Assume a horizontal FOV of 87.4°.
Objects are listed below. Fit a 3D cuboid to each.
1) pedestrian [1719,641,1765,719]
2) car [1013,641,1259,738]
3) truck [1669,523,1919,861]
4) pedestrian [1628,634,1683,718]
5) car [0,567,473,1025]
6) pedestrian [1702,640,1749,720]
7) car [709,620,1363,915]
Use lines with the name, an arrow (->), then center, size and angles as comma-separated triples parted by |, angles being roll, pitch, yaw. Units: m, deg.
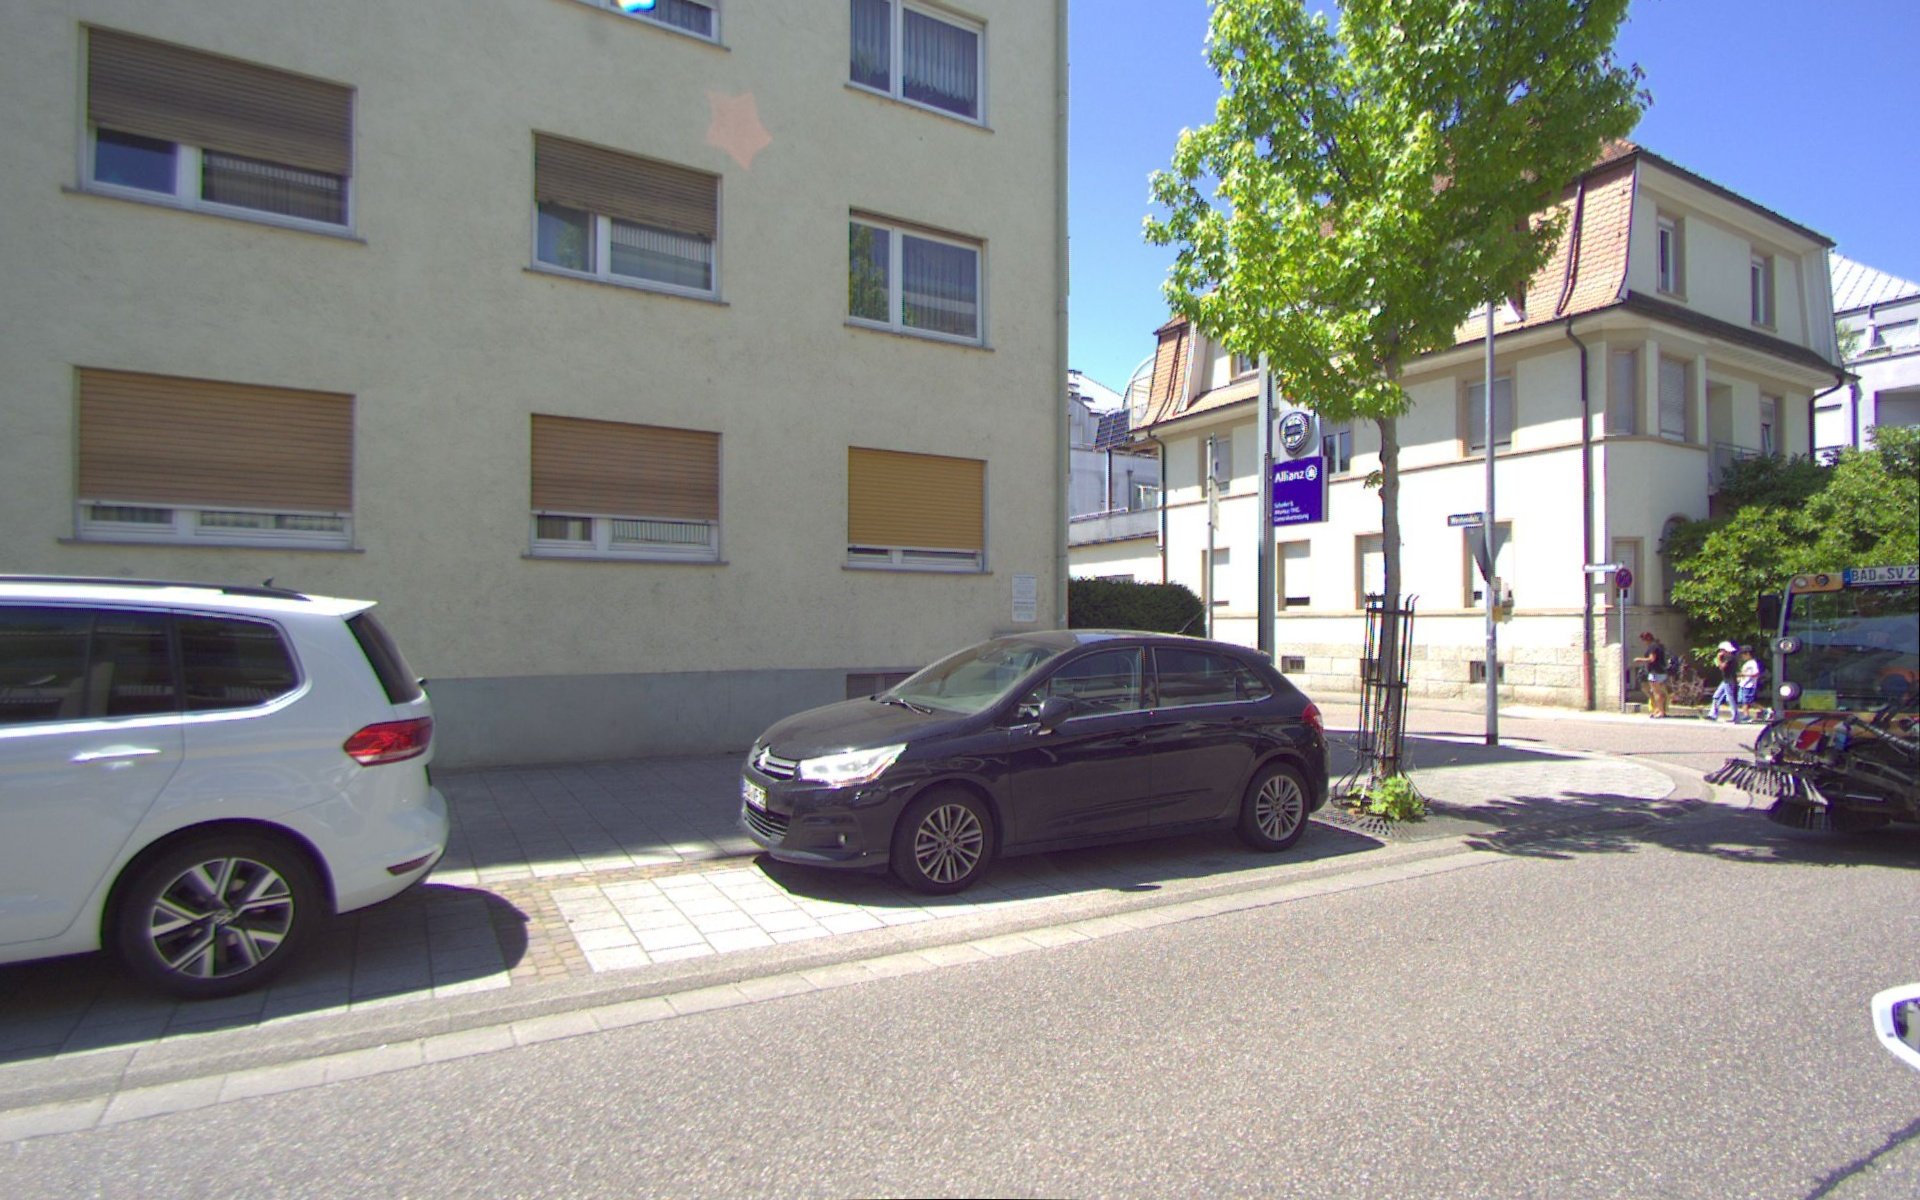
pedestrian -> 14.419, 1.468, 18.516 | 0.589, 1.389, 0.691 | -4, -2, 39
car -> 3.115, 1.497, 17.695 | 3.954, 1.520, 1.984 | 2, -3, -31
truck -> 7.848, 0.638, 8.000 | 4.660, 2.145, 1.796 | 1, -3, -31
pedestrian -> 13.240, 1.438, 19.144 | 0.586, 1.550, 0.695 | -3, -2, 16
car -> -4.448, 0.697, 4.029 | 4.343, 1.641, 1.814 | 1, -1, -32
pedestrian -> 13.799, 1.427, 18.109 | 0.589, 1.389, 0.691 | -4, -2, 39
car -> 0.609, 0.925, 6.970 | 4.267, 1.493, 1.747 | 1, -1, -28
